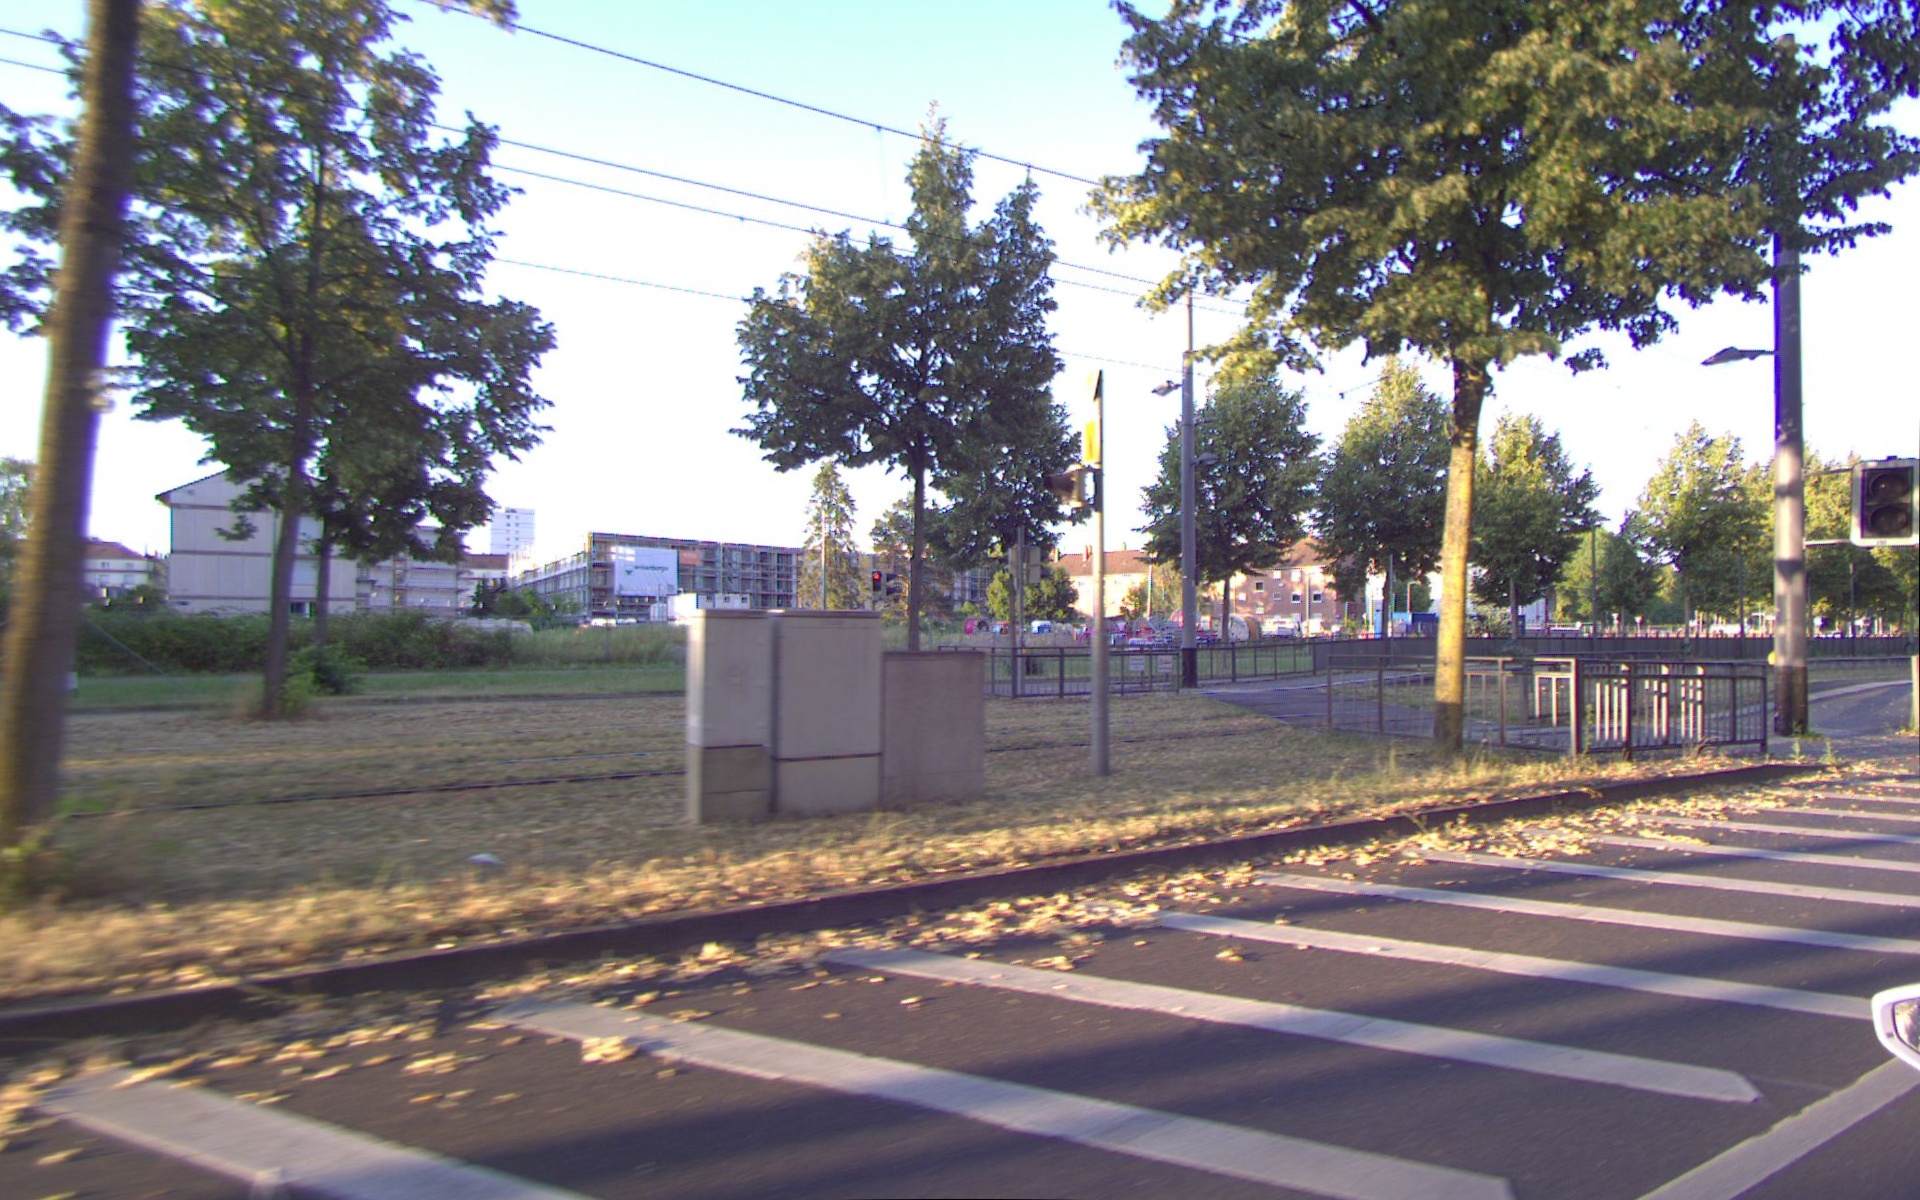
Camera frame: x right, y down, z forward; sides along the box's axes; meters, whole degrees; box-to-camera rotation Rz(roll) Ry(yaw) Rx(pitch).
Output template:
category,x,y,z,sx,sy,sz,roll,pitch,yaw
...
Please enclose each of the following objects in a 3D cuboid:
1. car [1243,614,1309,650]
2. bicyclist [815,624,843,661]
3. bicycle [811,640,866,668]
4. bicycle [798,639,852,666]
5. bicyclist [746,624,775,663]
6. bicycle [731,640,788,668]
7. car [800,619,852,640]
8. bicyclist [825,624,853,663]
category,x,y,z,sx,sy,sz,roll,pitch,yaw
car,20.822,2.076,65.991,2.384,2.254,5.898,-1,-2,36
bicyclist,-5.192,1.677,39.884,0.927,1.475,0.616,1,-1,-32
bicycle,-4.678,2.063,38.700,2.060,1.024,0.616,1,-2,-32
bicycle,-5.324,2.054,39.779,2.060,1.024,0.616,1,-2,-32
bicyclist,-7.591,1.651,38.171,0.927,1.440,0.616,1,-1,-32
bicycle,-7.600,2.044,38.170,2.060,1.024,0.616,1,-2,-32
car,-13.199,2.873,99.256,4.760,2.040,1.979,1,-2,-37
bicyclist,-4.664,1.659,38.713,0.927,1.475,0.616,1,-1,-32
